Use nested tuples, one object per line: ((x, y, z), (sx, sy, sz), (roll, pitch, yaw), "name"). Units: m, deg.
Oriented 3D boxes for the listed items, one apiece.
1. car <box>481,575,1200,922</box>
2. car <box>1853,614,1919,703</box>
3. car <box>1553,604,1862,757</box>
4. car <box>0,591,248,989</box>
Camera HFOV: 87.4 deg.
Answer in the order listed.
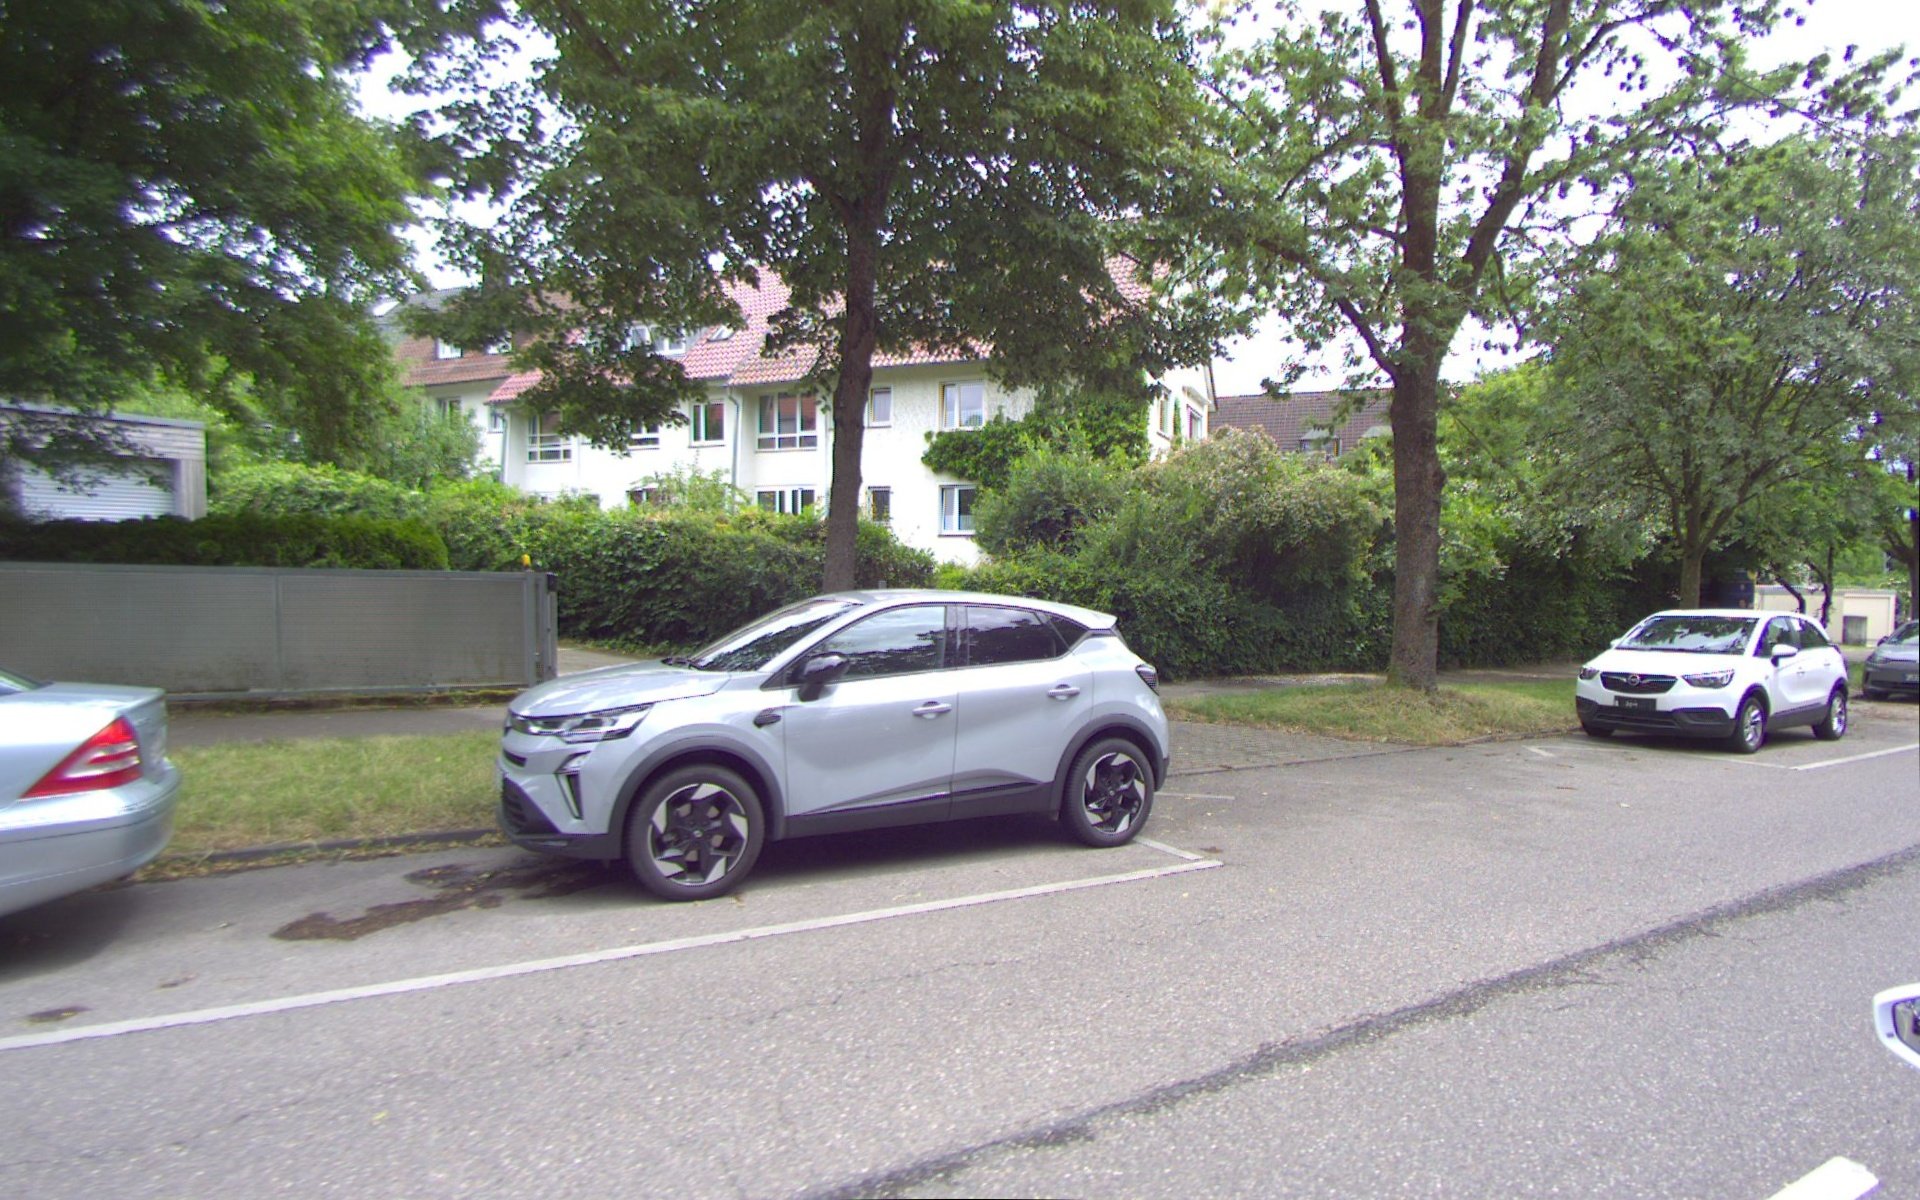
((-0.656, 0.699, 6.289), (4.139, 1.558, 1.728), (1, 0, -29), "car")
((18.770, 1.089, 19.030), (4.185, 1.558, 1.854), (1, 0, -35), "car")
((9.296, 0.882, 12.418), (4.096, 1.600, 1.726), (1, 0, -32), "car")
((-5.176, 0.660, 3.441), (4.428, 1.435, 1.724), (1, 0, -36), "car")
